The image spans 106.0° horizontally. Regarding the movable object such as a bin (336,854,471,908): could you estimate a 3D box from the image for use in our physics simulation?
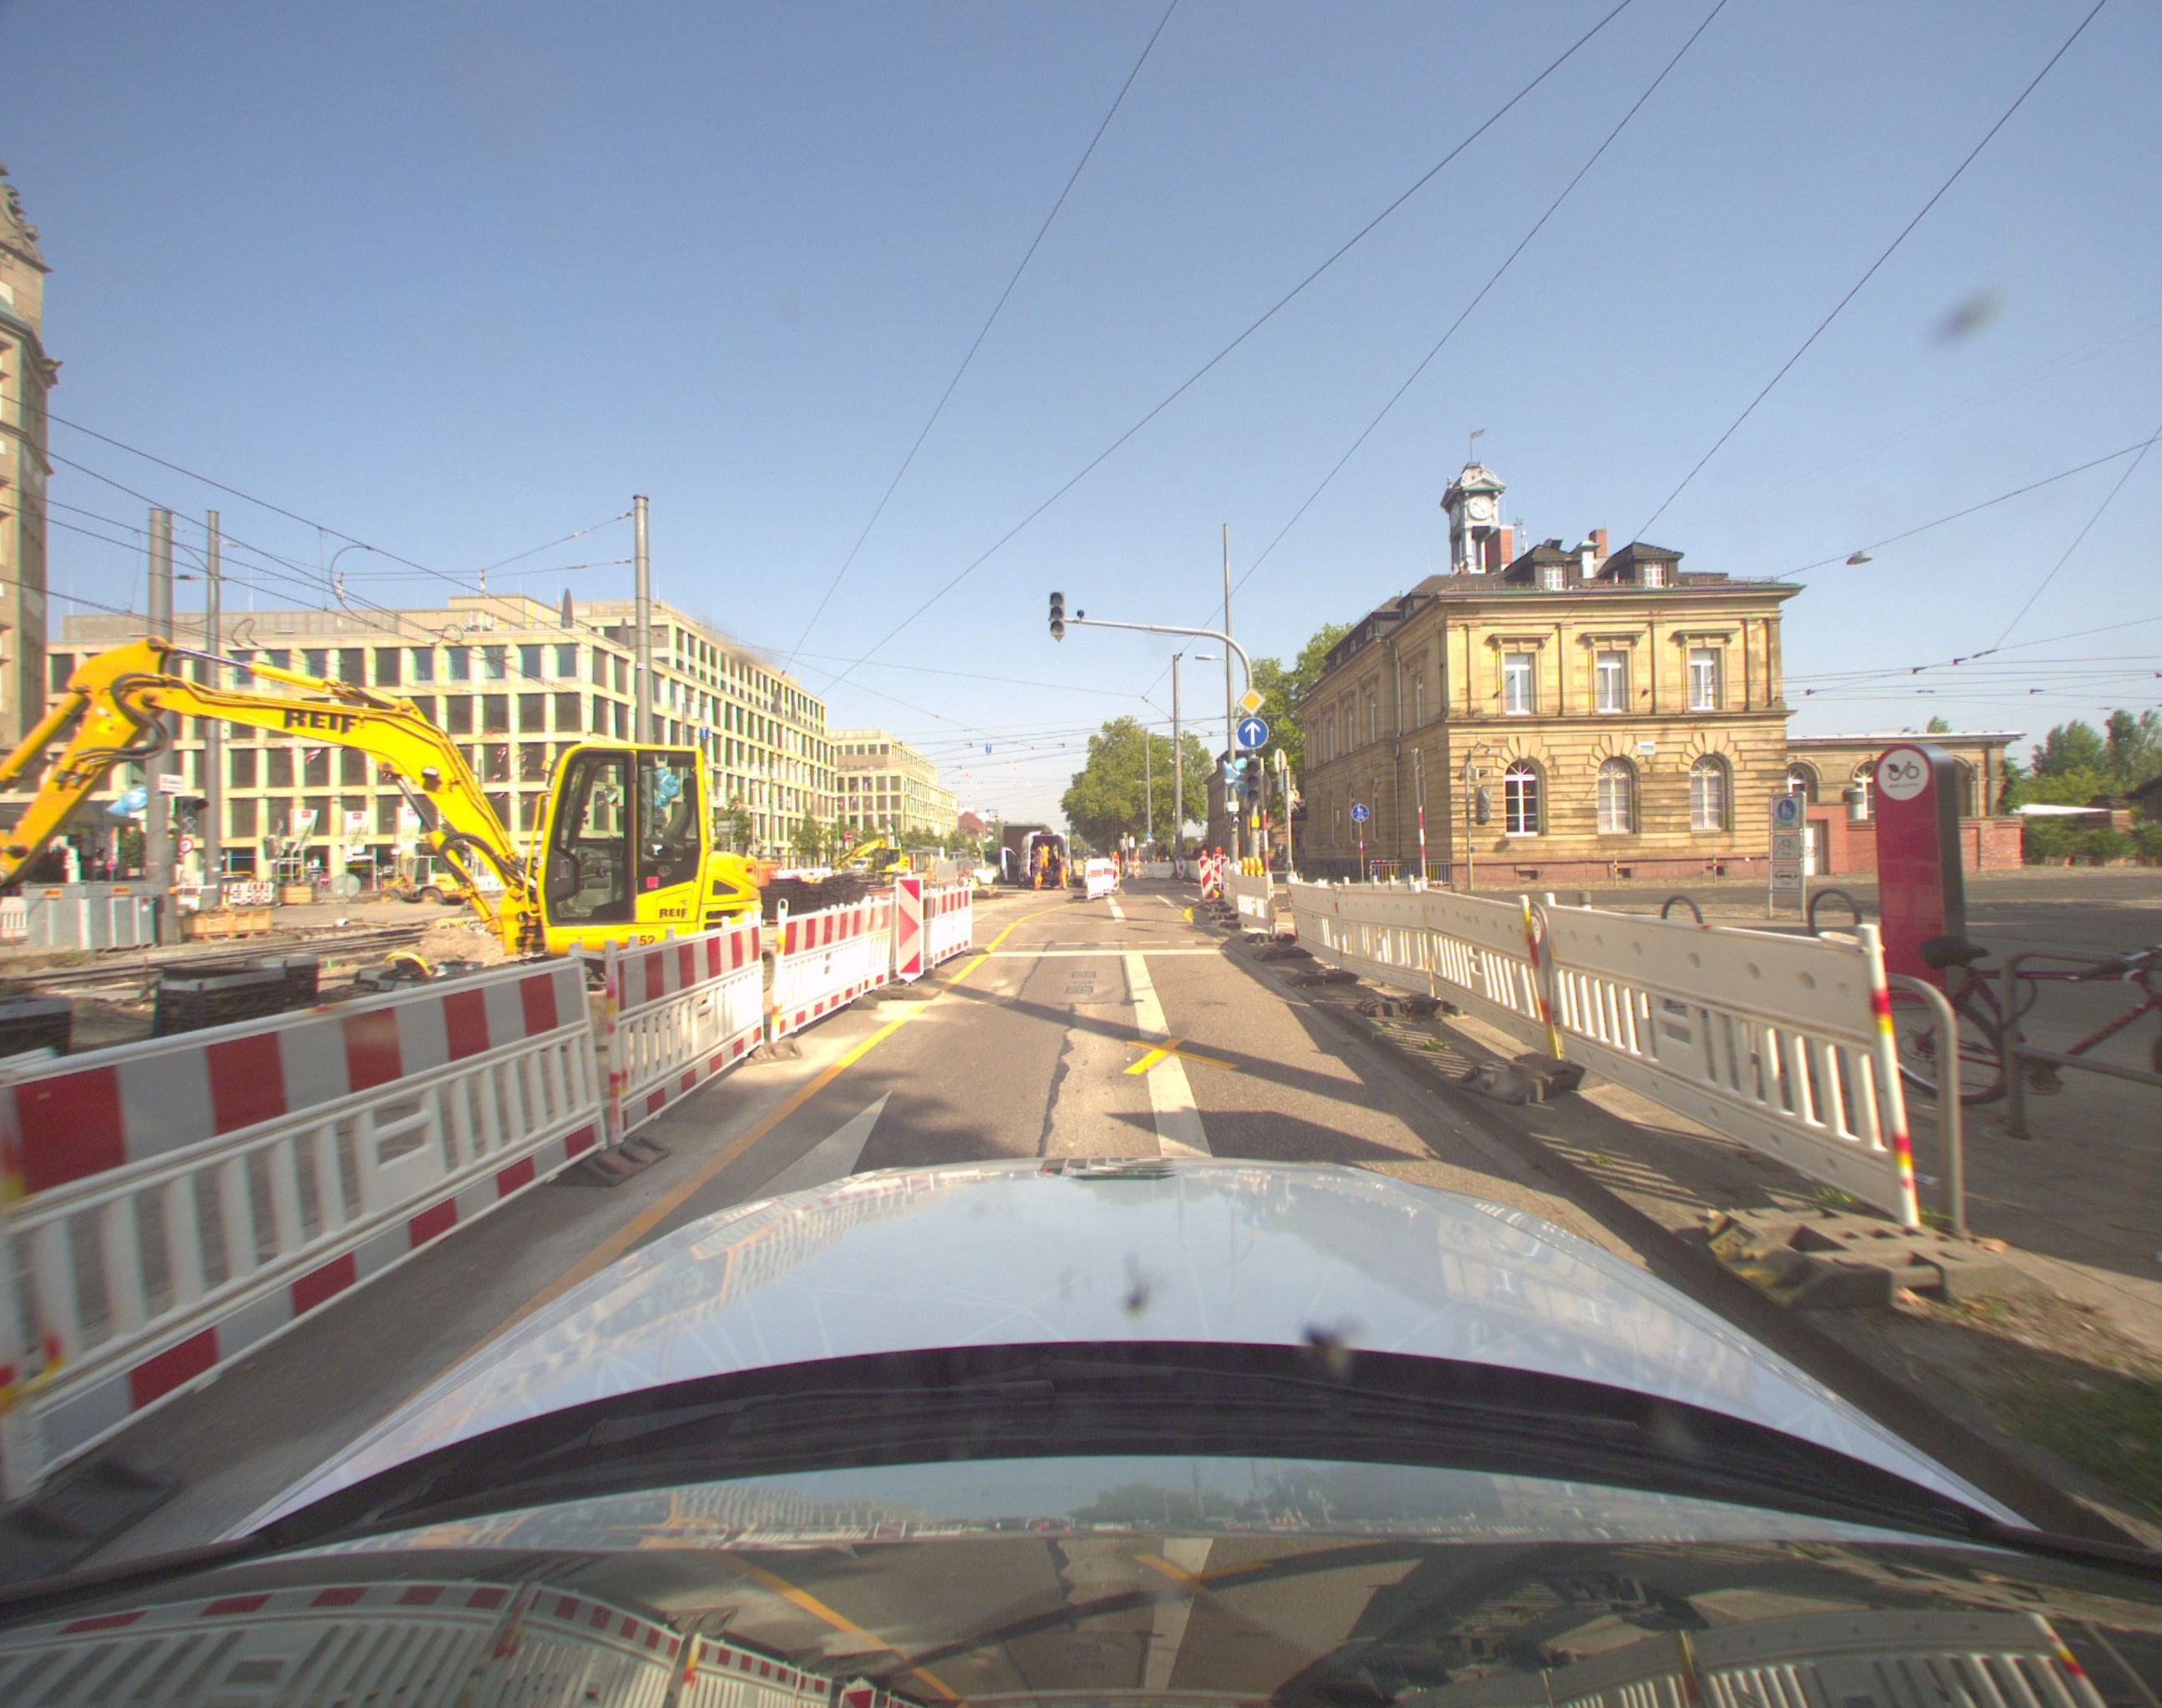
[{"bbox_3d":[-37.106,1.464,44.710,5.593,2.739,2.135,-2,-1,0],"label":"movable object such as a bin"}]

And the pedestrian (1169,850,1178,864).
[{"bbox_3d":[11.739,0.371,103.584,0.816,1.686,1.012,-6,-1,1],"label":"pedestrian"}]

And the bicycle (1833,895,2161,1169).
[{"bbox_3d":[4.377,0.725,3.848,0.408,0.987,1.377,-2,0,4],"label":"bicycle"}]

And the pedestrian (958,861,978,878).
[{"bbox_3d":[-9.061,1.269,65.320,1.300,1.306,0.803,-2,0,25],"label":"pedestrian"}]

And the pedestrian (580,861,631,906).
[{"bbox_3d":[-15.907,0.988,27.268,1.138,1.442,0.918,-2,-1,2],"label":"pedestrian"}]

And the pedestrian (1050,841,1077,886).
[{"bbox_3d":[-0.799,0.427,37.250,0.727,2.014,0.913,-3,-1,35],"label":"pedestrian"}]

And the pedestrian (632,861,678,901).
[{"bbox_3d":[-15.676,0.982,29.996,1.138,1.442,1.021,-2,-1,2],"label":"pedestrian"}]

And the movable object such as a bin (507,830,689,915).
[{"bbox_3d":[-21.512,0.778,37.060,2.834,3.330,8.352,-2,0,3],"label":"movable object such as a bin"}]

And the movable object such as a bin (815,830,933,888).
[{"bbox_3d":[-15.370,0.304,61.421,3.471,4.013,9.094,-2,0,25],"label":"movable object such as a bin"}]

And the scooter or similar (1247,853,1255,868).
[{"bbox_3d":[14.973,0.573,71.733,0.417,1.210,1.262,-2,2,24],"label":"scooter or similar"}]

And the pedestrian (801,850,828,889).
[{"bbox_3d":[-13.009,0.738,39.727,1.023,1.866,1.135,-1,-1,-30],"label":"pedestrian"}]

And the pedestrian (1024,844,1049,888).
[{"bbox_3d":[-2.064,0.564,37.823,0.727,2.014,0.913,-3,-1,33],"label":"pedestrian"}]

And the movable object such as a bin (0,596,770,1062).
[{"bbox_3d":[-6.229,-0.203,7.467,6.161,3.346,2.103,-1,-1,-19],"label":"movable object such as a bin"}]

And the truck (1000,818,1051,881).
[{"bbox_3d":[-3.694,-0.254,52.116,2.672,3.678,8.192,-2,0,-7],"label":"truck"}]

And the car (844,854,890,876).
[{"bbox_3d":[-21.444,1.087,81.951,1.795,2.030,5.145,-2,-1,20],"label":"car"}]

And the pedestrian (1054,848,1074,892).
[{"bbox_3d":[-0.809,0.746,38.226,0.730,2.014,0.909,-2,-1,8],"label":"pedestrian"}]

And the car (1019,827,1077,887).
[{"bbox_3d":[-1.741,0.168,40.896,2.225,2.729,5.152,-2,-1,-10],"label":"car"}]

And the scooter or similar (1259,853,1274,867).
[{"bbox_3d":[16.475,0.522,72.196,1.257,1.210,0.419,-3,1,-24],"label":"scooter or similar"}]

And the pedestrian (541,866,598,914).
[{"bbox_3d":[-16.040,1.104,25.559,1.138,1.442,0.918,-2,-1,2],"label":"pedestrian"}]

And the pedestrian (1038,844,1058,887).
[{"bbox_3d":[-1.578,0.536,39.335,0.730,2.014,0.909,-2,-1,7],"label":"pedestrian"}]

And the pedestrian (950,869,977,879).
[{"bbox_3d":[-8.931,1.521,61.945,1.893,0.636,0.913,-2,0,5],"label":"pedestrian"}]

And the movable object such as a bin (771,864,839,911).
[{"bbox_3d":[-7.433,0.875,22.049,0.746,1.170,2.296,-2,0,8],"label":"movable object such as a bin"}]

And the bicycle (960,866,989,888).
[{"bbox_3d":[-5.739,1.247,43.869,1.641,1.136,0.621,-2,-1,44],"label":"bicycle"}]

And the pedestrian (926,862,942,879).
[{"bbox_3d":[-11.938,1.306,66.071,1.010,1.306,0.984,-2,0,5],"label":"pedestrian"}]
